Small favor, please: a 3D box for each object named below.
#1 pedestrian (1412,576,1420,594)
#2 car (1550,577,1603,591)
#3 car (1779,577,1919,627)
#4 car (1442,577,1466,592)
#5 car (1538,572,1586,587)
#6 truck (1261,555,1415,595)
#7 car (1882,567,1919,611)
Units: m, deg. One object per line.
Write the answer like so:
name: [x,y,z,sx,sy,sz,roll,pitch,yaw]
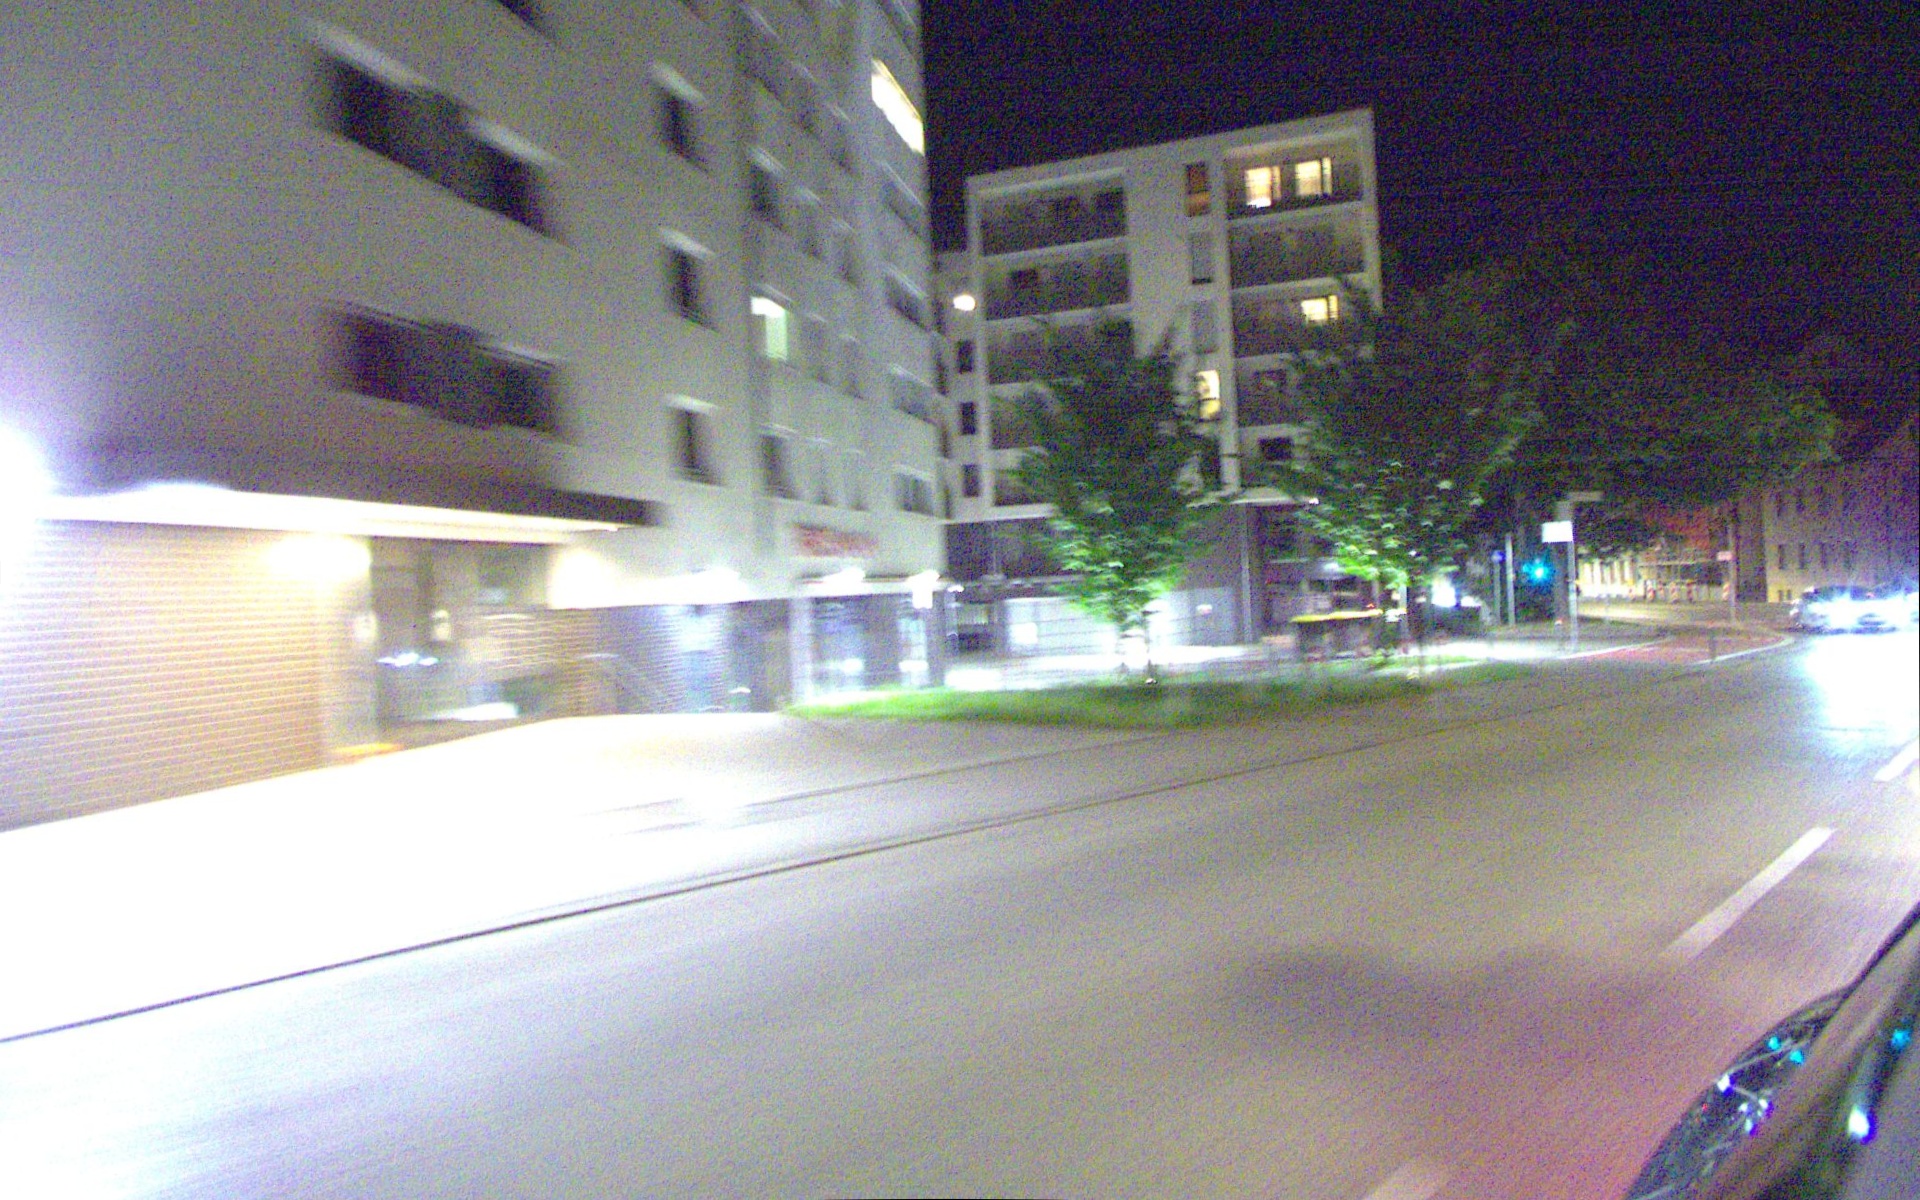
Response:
pedestrian: [46.913,-1.580,104.062,0.615,1.834,0.755,-2,0,17]
car: [64.458,-1.674,105.823,1.853,1.442,4.739,-1,1,-15]
car: [29.134,0.018,33.322,1.706,1.448,4.476,-3,0,16]
car: [55.913,-1.725,114.634,1.974,1.656,3.975,-2,0,19]
car: [72.664,-2.465,122.246,4.607,1.649,1.995,-2,1,15]
truck: [44.251,-2.916,119.251,16.600,4.033,3.116,-1,1,17]
car: [34.034,-0.381,34.891,1.706,1.481,3.979,-2,1,17]
